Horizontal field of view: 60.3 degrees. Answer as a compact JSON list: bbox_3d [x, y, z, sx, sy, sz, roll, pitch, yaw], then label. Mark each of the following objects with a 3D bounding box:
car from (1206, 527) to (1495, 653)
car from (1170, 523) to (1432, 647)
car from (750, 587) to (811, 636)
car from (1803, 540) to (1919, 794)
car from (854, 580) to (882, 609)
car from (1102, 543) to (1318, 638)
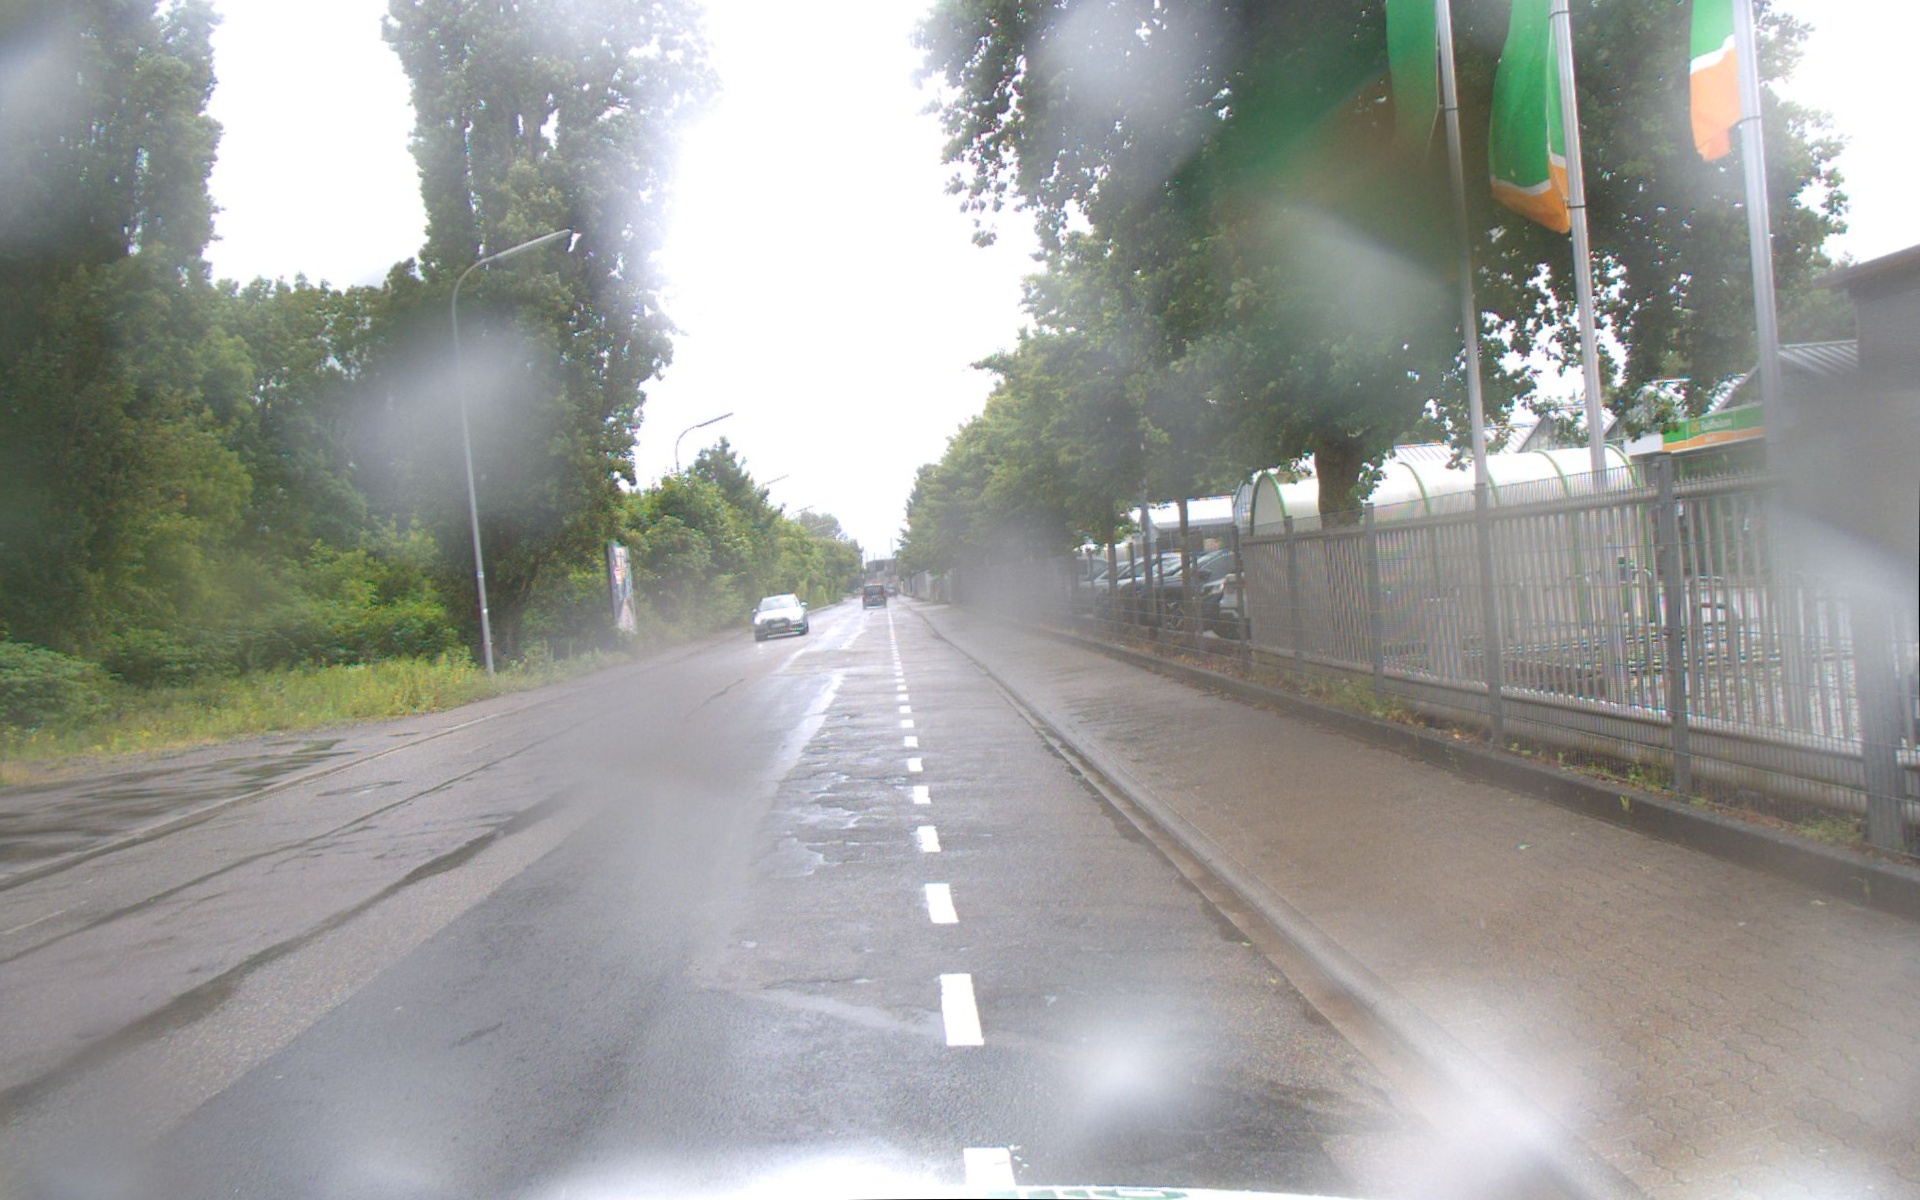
[{"bbox_3d":[6.265,-0.169,26.804,4.126,1.628,1.822,-5,1,-4],"label":"car"},{"bbox_3d":[6.087,-0.280,29.693,4.133,1.825,1.819,-5,1,-10],"label":"car"},{"bbox_3d":[-6.378,0.383,59.158,1.700,1.474,4.379,-7,1,-2],"label":"car"},{"bbox_3d":[6.746,0.215,8.626,3.861,1.278,1.617,-4,0,-4],"label":"car"},{"bbox_3d":[-6.897,-0.389,123.983,1.955,1.943,4.198,-5,0,-3],"label":"car"},{"bbox_3d":[5.335,-0.209,35.514,4.133,1.646,1.819,-5,1,-10],"label":"car"}]
